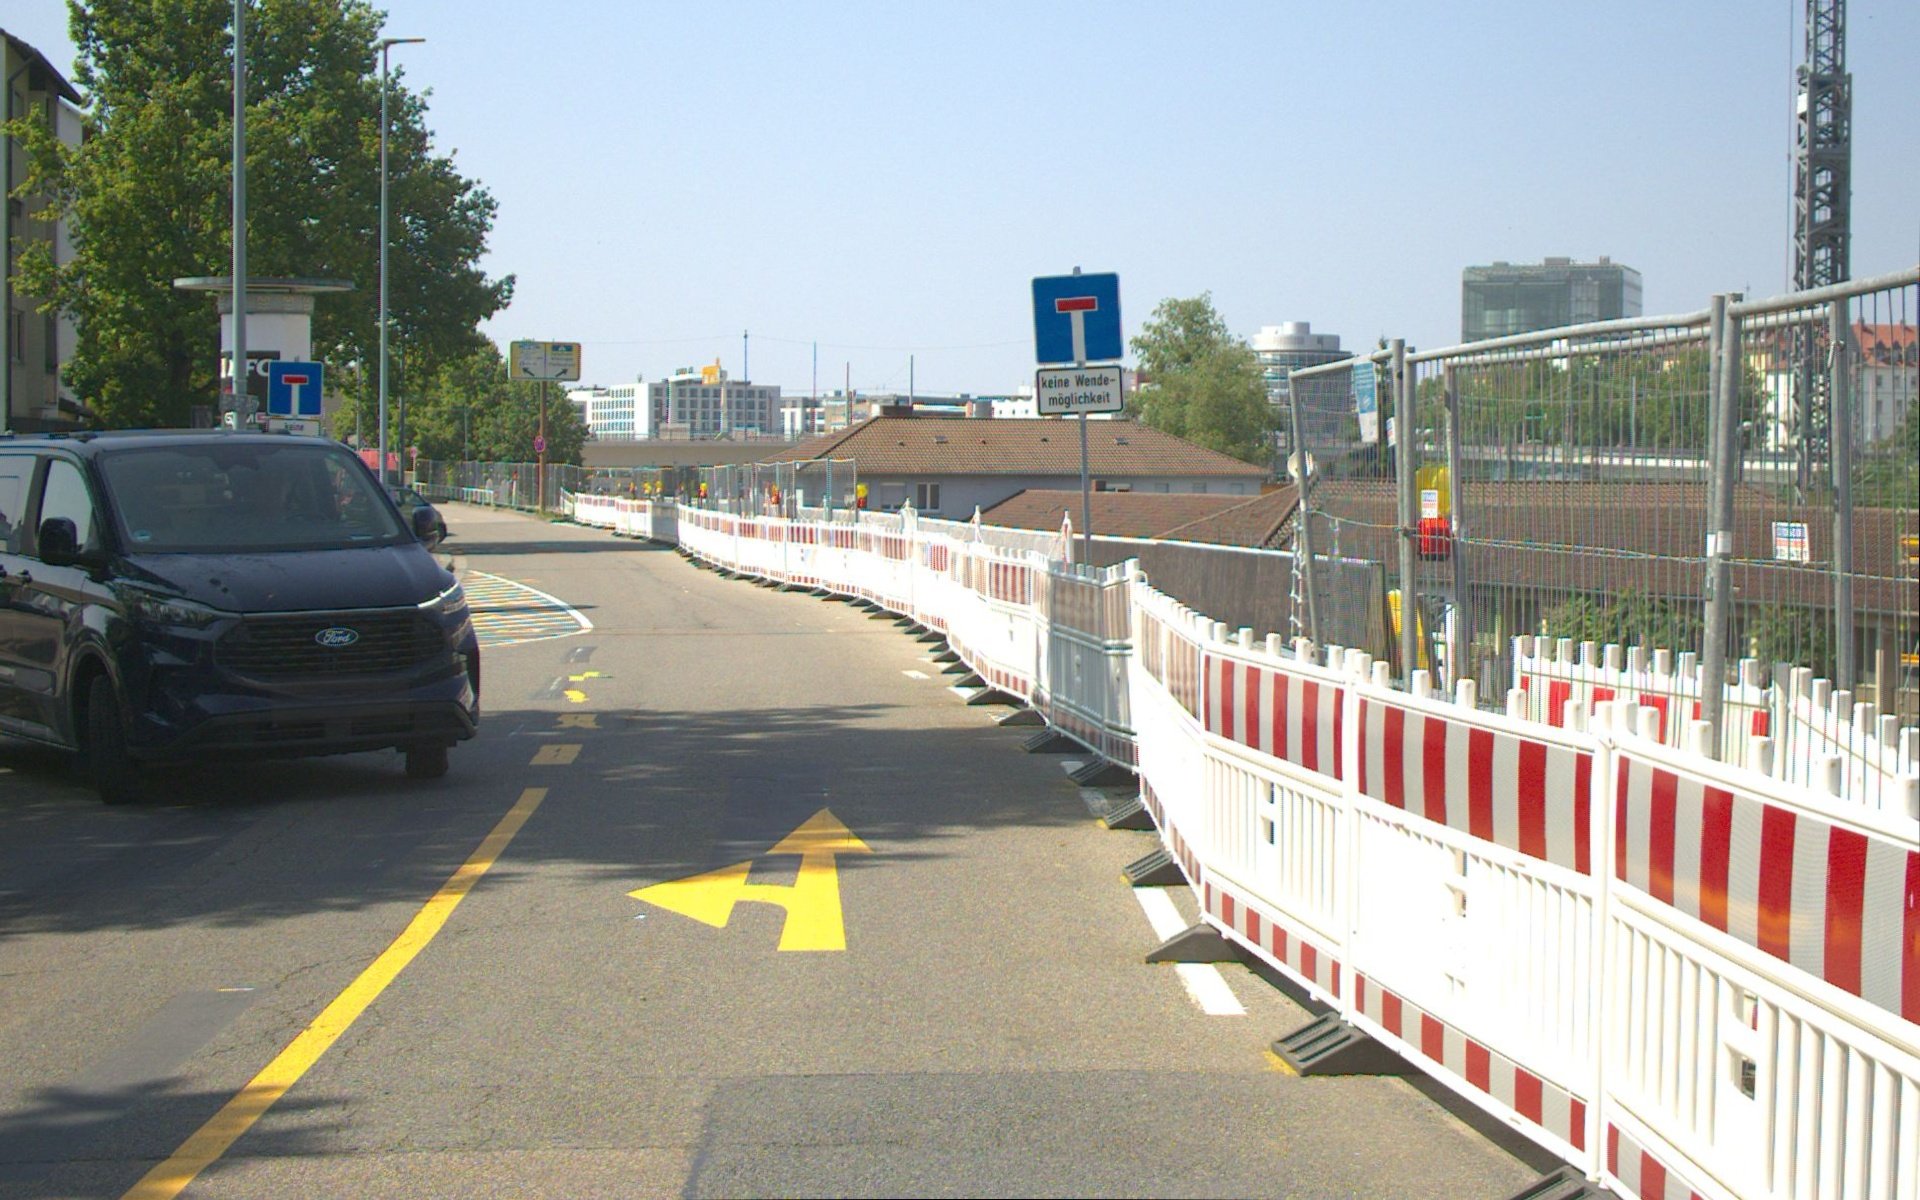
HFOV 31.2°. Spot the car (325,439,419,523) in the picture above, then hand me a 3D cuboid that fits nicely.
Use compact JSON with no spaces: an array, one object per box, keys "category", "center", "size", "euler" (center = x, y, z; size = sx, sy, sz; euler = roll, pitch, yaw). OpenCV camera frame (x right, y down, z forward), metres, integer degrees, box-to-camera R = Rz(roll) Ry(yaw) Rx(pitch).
[{"category":"car","center":[-18.402,-3.698,107.763],"size":[2.537,2.511,5.119],"euler":[1,1,-6]}]

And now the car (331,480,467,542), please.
[{"category":"car","center":[-15.331,-2.426,94.040],"size":[1.725,1.632,3.273],"euler":[2,1,43]}]

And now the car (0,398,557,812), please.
[{"category":"car","center":[-4.564,-0.066,19.854],"size":[2.177,1.961,5.444],"euler":[-5,4,-33]}]
